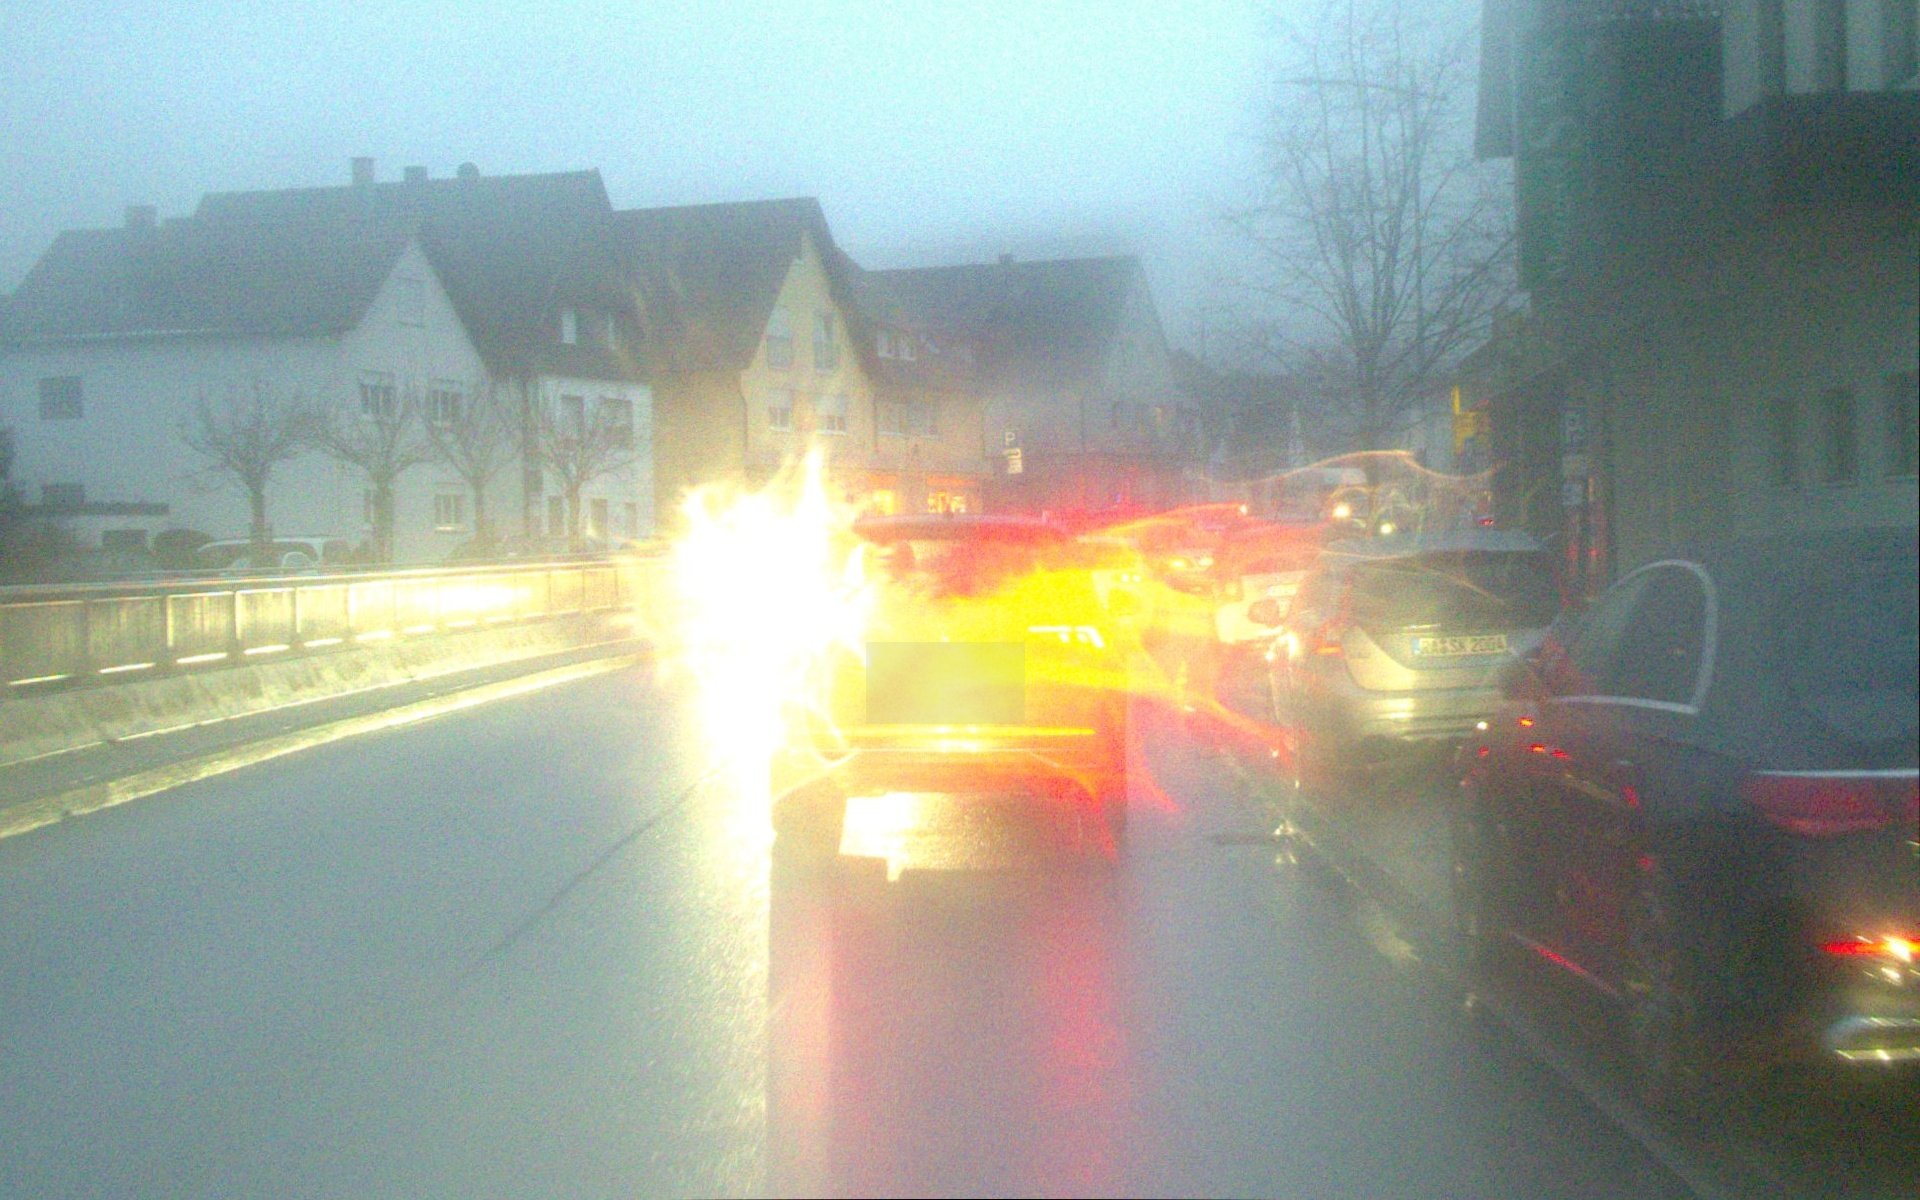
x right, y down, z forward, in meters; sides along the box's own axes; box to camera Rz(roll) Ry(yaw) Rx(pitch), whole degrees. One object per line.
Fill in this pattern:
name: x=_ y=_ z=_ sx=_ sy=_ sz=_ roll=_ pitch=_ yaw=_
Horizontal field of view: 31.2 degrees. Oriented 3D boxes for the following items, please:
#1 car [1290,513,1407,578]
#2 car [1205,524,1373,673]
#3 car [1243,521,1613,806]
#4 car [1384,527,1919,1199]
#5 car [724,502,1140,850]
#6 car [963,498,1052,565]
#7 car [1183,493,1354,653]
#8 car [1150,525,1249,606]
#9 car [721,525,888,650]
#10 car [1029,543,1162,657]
car: x=9.137 y=-1.294 z=80.635 sx=1.995 sy=1.387 sz=3.997 roll=-1 pitch=2 yaw=17
car: x=3.497 y=-0.046 z=36.881 sx=1.645 sy=1.410 sz=2.727 roll=-4 pitch=2 yaw=4
car: x=2.716 y=0.302 z=20.797 sx=1.652 sy=1.450 sz=4.238 roll=-4 pitch=1 yaw=1
car: x=2.598 y=0.565 z=10.111 sx=1.956 sy=1.527 sz=5.009 roll=1 pitch=1 yaw=-1
car: x=-0.169 y=0.303 z=18.512 sx=1.964 sy=1.589 sz=4.314 roll=-1 pitch=2 yaw=-1
car: x=1.440 y=-2.113 z=105.379 sx=2.037 sy=1.919 sz=4.058 roll=-2 pitch=2 yaw=-8
car: x=3.877 y=-0.375 z=42.676 sx=1.770 sy=1.776 sz=3.999 roll=-4 pitch=1 yaw=9
car: x=4.588 y=-0.678 z=65.539 sx=1.814 sy=1.407 sz=4.000 roll=0 pitch=2 yaw=4
car: x=-1.979 y=-0.197 z=44.760 sx=1.732 sy=1.531 sz=3.780 roll=1 pitch=1 yaw=4
car: x=1.791 y=-0.033 z=46.351 sx=1.682 sy=1.448 sz=4.000 roll=0 pitch=1 yaw=1
